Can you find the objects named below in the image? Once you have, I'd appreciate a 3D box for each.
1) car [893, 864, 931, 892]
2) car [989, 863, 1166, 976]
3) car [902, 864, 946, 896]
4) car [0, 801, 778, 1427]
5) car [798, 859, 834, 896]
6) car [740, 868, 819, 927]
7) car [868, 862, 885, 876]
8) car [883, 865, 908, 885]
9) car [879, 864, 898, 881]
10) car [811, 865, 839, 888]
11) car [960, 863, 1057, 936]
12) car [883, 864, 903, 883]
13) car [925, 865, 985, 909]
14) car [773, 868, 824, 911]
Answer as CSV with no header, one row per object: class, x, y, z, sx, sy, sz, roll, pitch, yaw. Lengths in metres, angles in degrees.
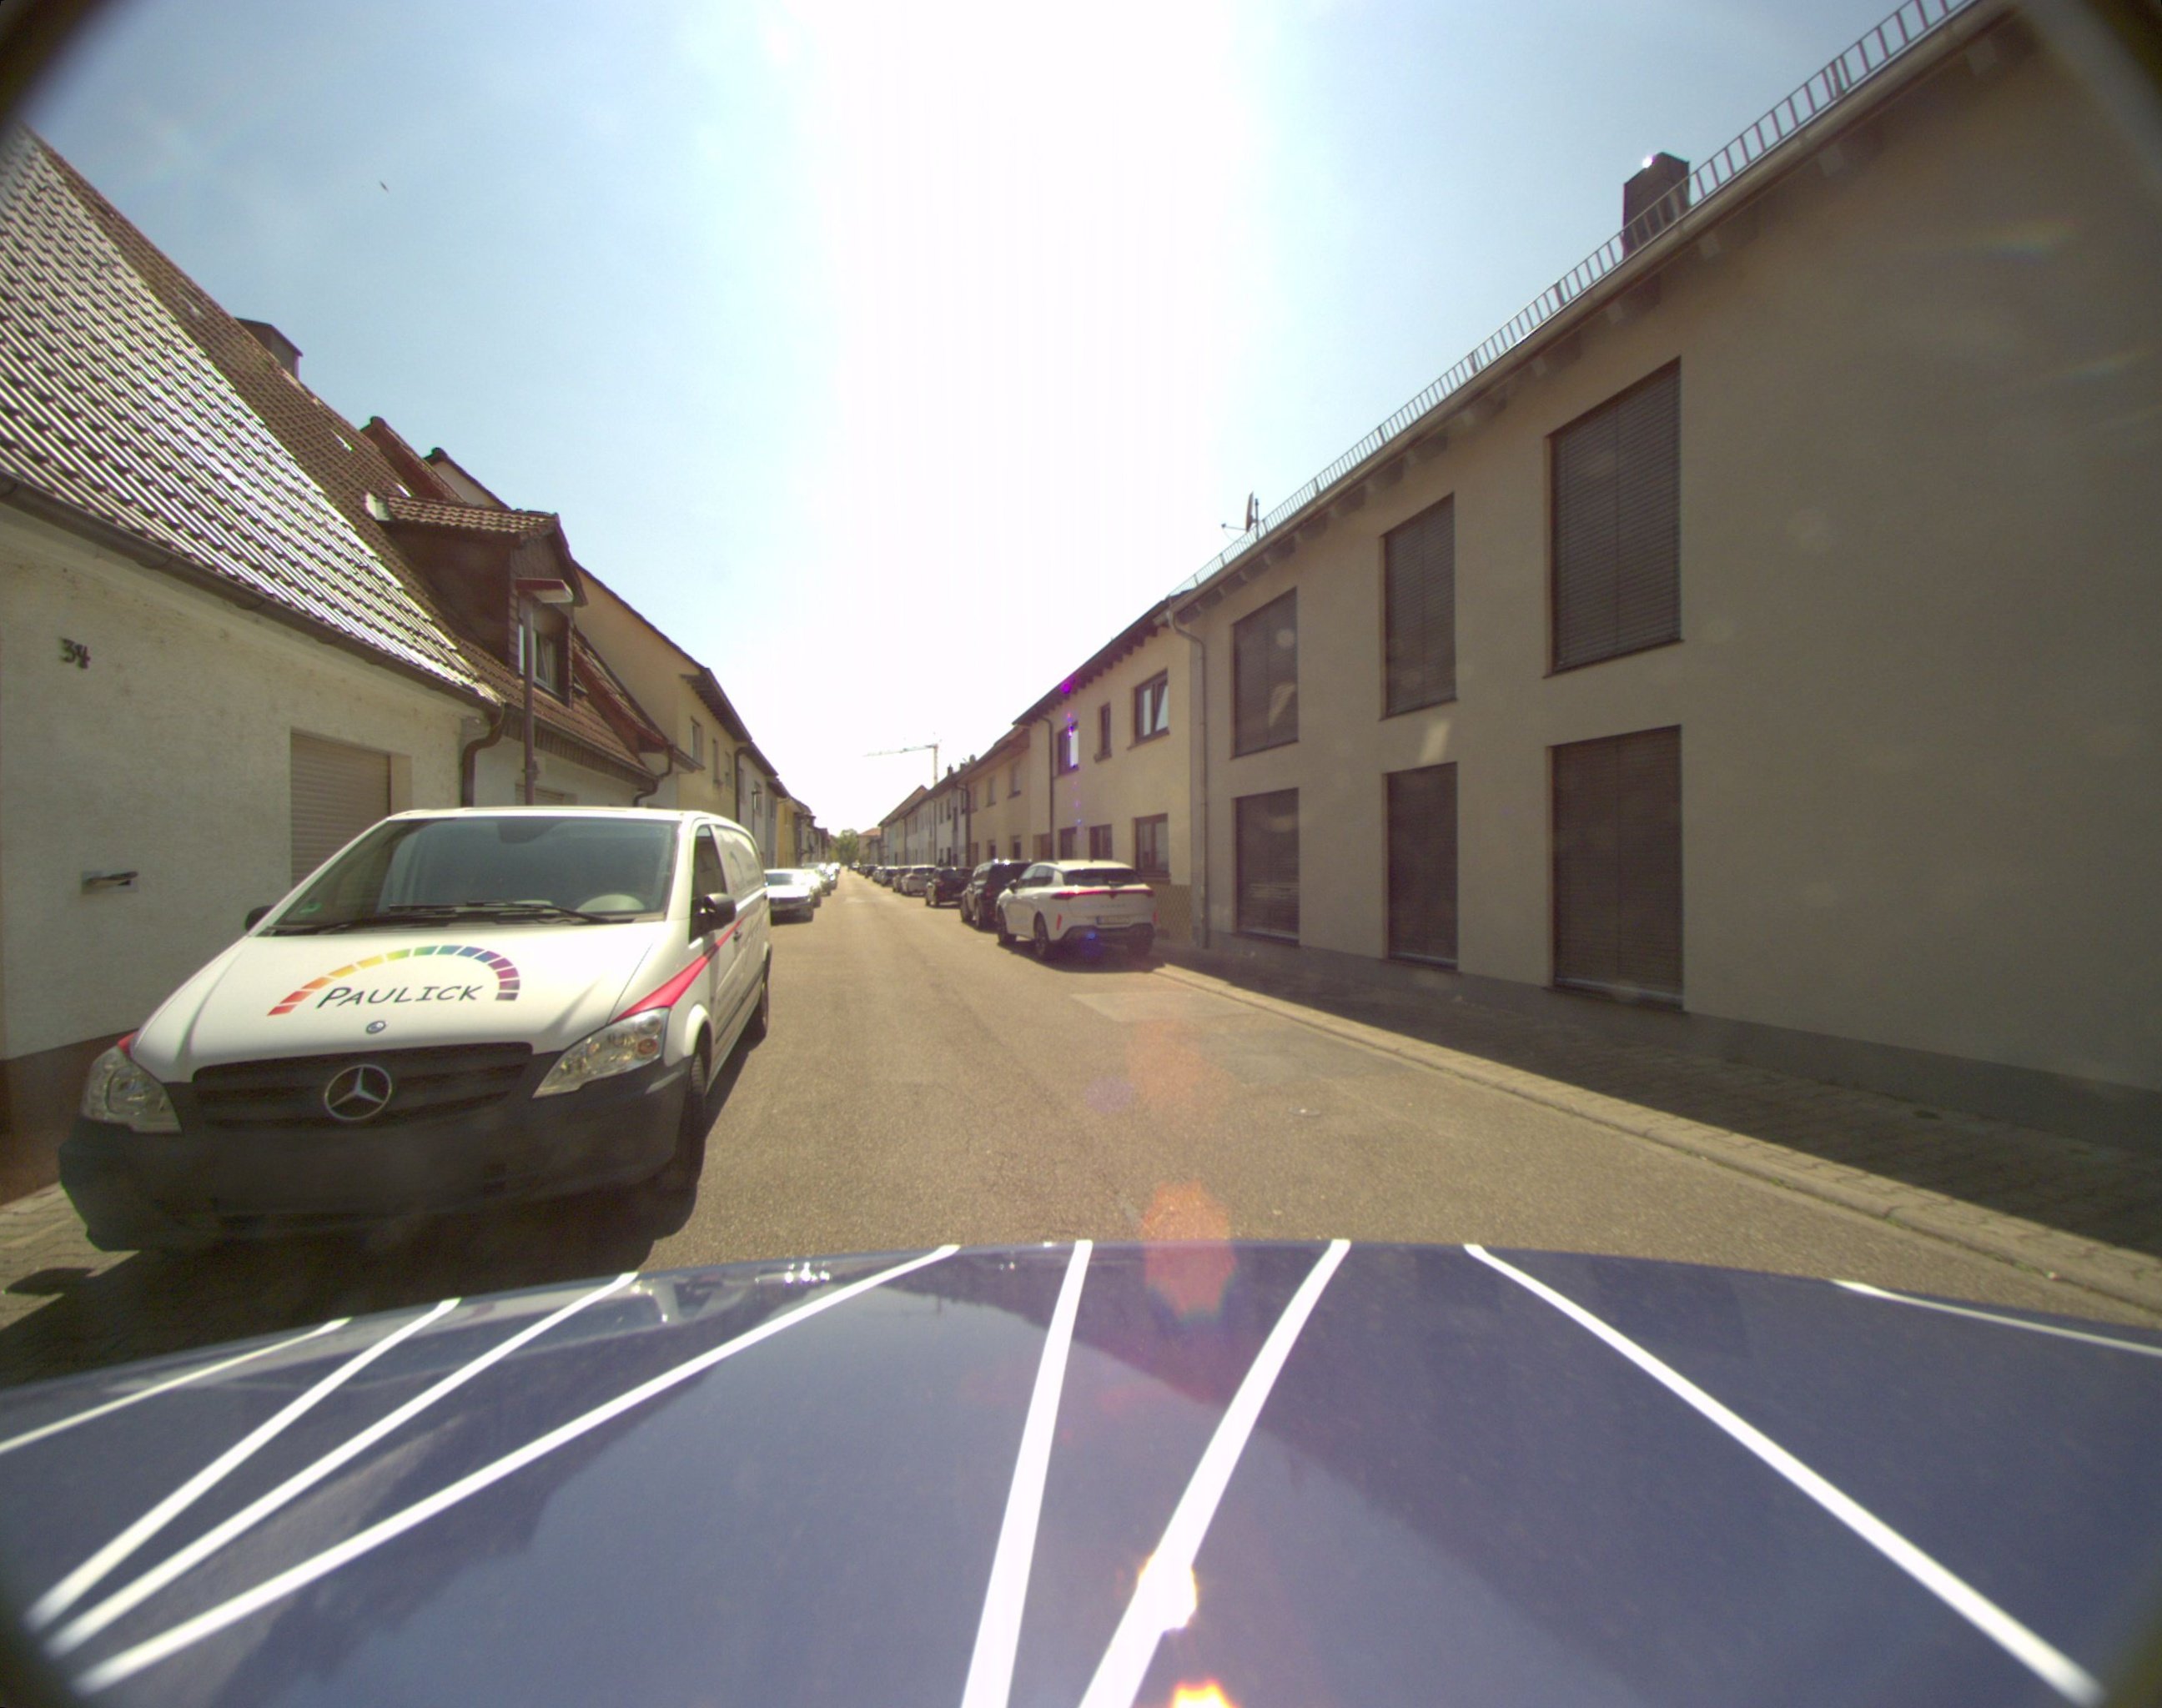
car,-9.964,1.358,44.625,1.670,1.532,3.682,-1,0,-20
car,-0.266,0.990,13.398,1.781,1.606,4.341,1,0,-20
car,-8.210,1.307,39.496,1.670,1.540,3.935,0,0,-20
car,-3.288,0.762,4.931,2.021,1.828,5.257,-1,0,-17
car,-14.000,1.199,40.302,1.703,1.767,4.192,-1,1,-18
car,-8.754,1.192,22.395,1.846,1.440,4.768,-1,0,-18
car,-24.831,1.839,92.289,1.821,1.597,3.881,1,0,-18
car,-13.829,1.582,56.614,1.609,1.434,3.209,1,-1,-16
car,-16.809,1.623,66.314,1.416,1.446,3.457,1,0,-16
car,-16.929,1.491,50.401,1.669,1.406,4.242,1,-1,-17
car,-1.948,1.064,19.280,1.729,1.606,3.984,1,0,-16
car,-15.188,1.552,61.315,1.416,1.519,3.021,1,0,-16
car,-4.860,1.200,28.981,1.647,1.528,3.936,1,0,-19
car,-10.862,1.314,29.430,1.703,1.427,4.096,-1,0,-18
